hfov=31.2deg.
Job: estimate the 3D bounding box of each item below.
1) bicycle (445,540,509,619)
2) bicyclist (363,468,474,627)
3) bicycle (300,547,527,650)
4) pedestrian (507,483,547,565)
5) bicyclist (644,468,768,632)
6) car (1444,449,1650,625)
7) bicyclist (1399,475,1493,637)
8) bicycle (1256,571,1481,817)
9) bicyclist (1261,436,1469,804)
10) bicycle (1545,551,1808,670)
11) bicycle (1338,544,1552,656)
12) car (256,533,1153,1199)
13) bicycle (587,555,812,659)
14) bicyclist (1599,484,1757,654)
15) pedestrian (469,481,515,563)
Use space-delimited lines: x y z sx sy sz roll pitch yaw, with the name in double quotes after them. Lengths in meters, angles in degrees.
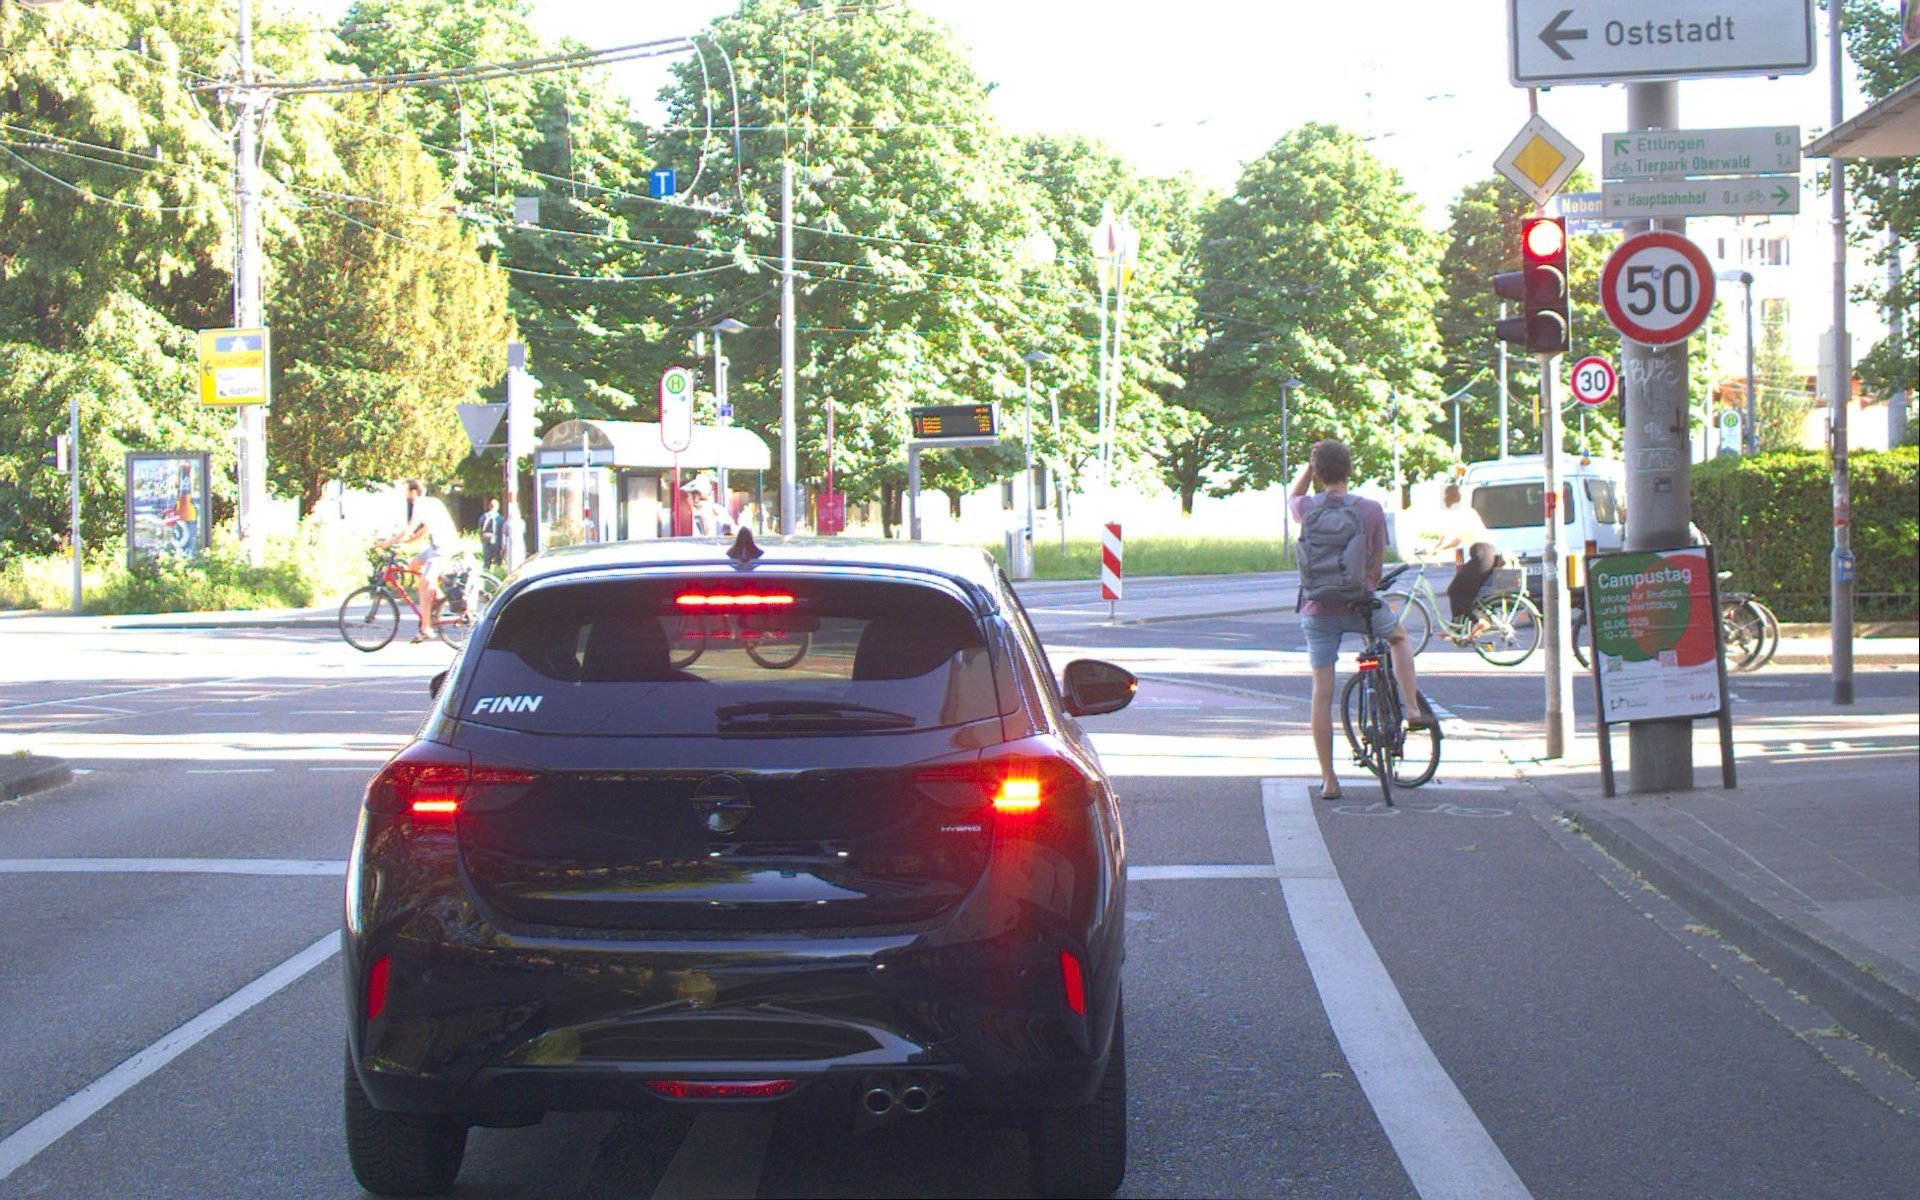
-6.526 -0.287 46.510 0.605 1.027 1.982 -1 2 -1 "bicycle"
-5.893 -0.574 37.453 0.927 1.701 0.875 0 1 12 "bicyclist"
-5.948 -0.019 37.459 2.294 1.080 0.800 0 1 12 "bicycle"
-8.678 -1.520 68.925 0.636 1.624 0.572 1 1 7 "pedestrian"
-2.458 -0.486 33.357 1.010 1.565 0.799 0 1 11 "bicyclist"
7.999 -0.875 46.486 2.065 2.241 4.883 0 2 18 "car"
4.831 -0.439 34.177 0.861 1.589 0.649 0 1 13 "bicyclist"
2.091 0.452 17.878 0.860 1.149 2.172 -1 2 -1 "bicycle"
2.086 0.090 17.815 0.941 1.844 0.864 -1 1 -1 "bicyclist"
6.521 0.084 31.325 2.190 1.029 0.835 -1 1 -13 "bicycle"
4.826 -0.004 34.175 2.056 1.090 0.592 0 1 13 "bicycle"
-0.509 0.554 8.736 1.727 1.424 4.187 0 1 0 "car"
-2.525 0.067 33.393 2.059 0.980 0.672 0 1 11 "bicycle"
6.534 -0.292 31.312 1.112 1.515 0.922 -1 1 -13 "bicyclist"
-9.389 -1.563 69.022 0.751 1.624 0.597 1 1 7 "pedestrian"
